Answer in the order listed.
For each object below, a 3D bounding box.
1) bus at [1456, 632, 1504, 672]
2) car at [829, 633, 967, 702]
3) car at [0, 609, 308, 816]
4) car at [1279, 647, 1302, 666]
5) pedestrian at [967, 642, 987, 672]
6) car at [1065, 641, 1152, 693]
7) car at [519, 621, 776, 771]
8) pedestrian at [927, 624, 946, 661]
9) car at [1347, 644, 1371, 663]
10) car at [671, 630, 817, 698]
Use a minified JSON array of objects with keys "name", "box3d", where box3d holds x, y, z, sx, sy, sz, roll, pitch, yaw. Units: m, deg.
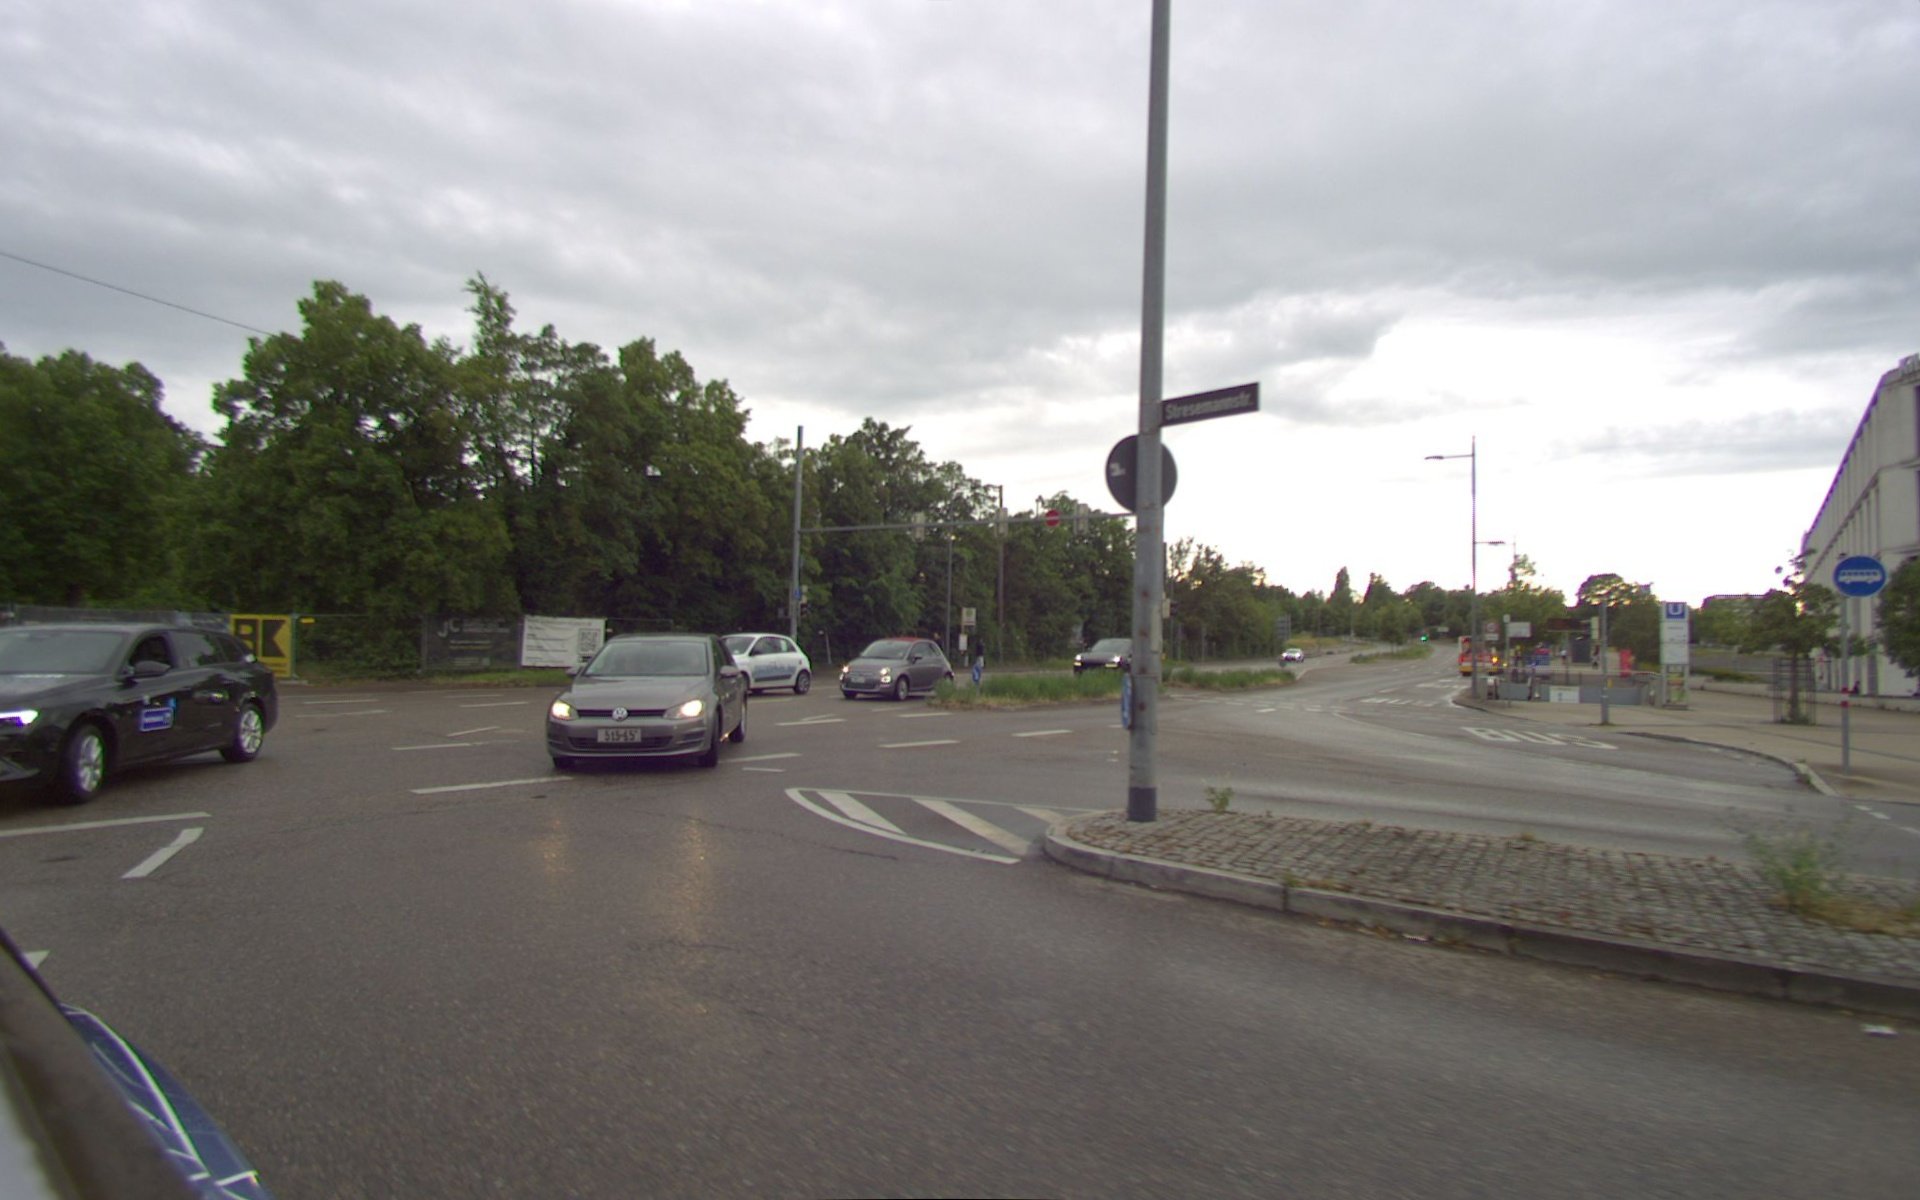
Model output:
[{"name":"bus","box3d":[41.700,4.169,80.983,2.871,3.012,9.900,-1,-3,31]},{"name":"car","box3d":[-1.461,1.625,25.106,1.665,1.541,3.618,0,-2,31]},{"name":"car","box3d":[-7.914,0.839,9.104,1.776,1.441,4.529,2,-3,-10]},{"name":"car","box3d":[36.985,6.339,113.149,1.989,2.029,3.966,1,-3,25]},{"name":"pedestrian","box3d":[0.957,3.272,57.811,0.819,1.688,0.823,0,-3,31]},{"name":"car","box3d":[5.608,2.468,37.816,1.900,1.785,3.959,0,-3,30]},{"name":"car","box3d":[-3.439,1.062,11.976,1.879,1.450,4.000,-1,-3,-1]},{"name":"pedestrian","box3d":[-1.232,2.234,52.707,0.675,1.898,0.692,0,-3,31]},{"name":"car","box3d":[42.637,5.711,108.064,1.991,2.029,3.962,-1,-3,28]},{"name":"car","box3d":[-5.261,1.558,25.057,1.638,1.532,3.546,0,-3,27]}]
